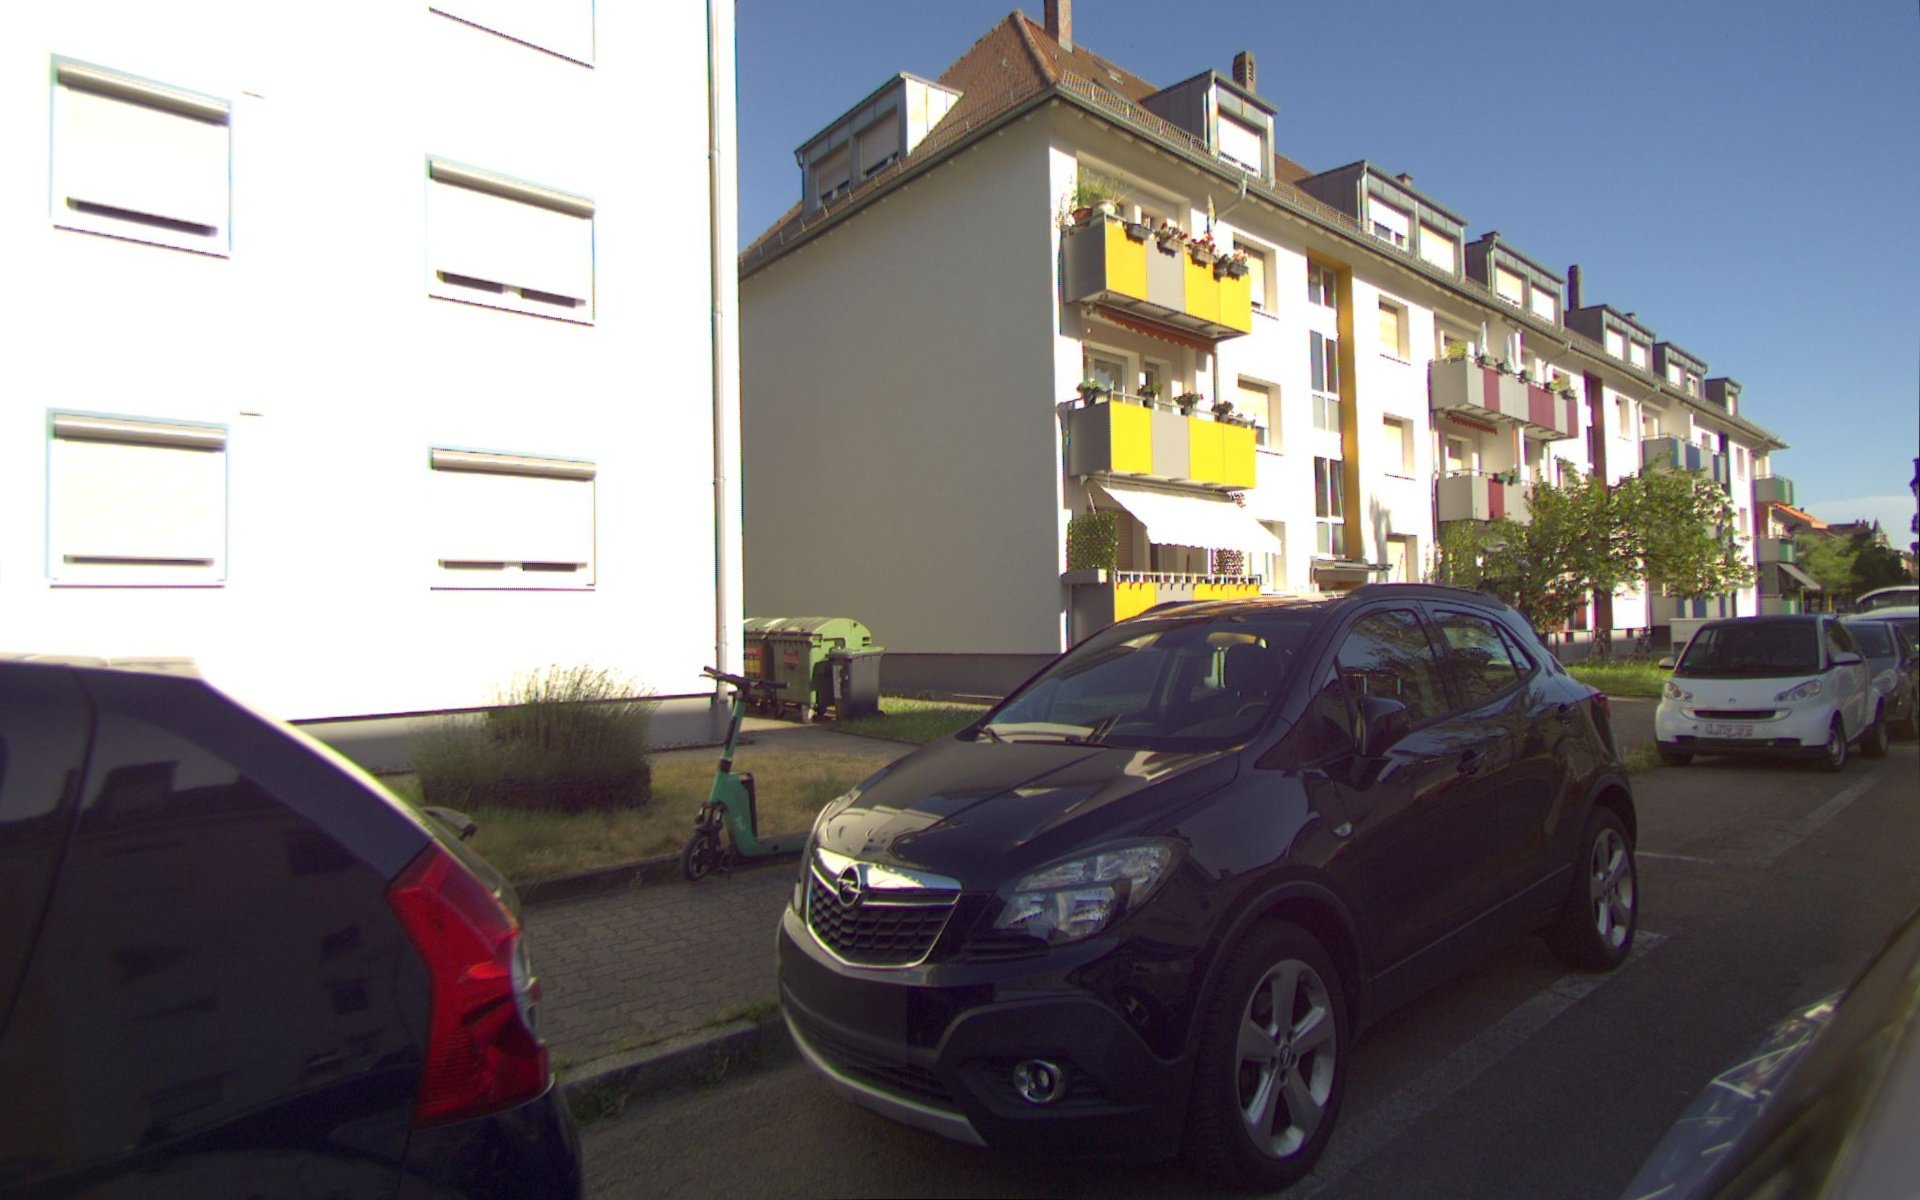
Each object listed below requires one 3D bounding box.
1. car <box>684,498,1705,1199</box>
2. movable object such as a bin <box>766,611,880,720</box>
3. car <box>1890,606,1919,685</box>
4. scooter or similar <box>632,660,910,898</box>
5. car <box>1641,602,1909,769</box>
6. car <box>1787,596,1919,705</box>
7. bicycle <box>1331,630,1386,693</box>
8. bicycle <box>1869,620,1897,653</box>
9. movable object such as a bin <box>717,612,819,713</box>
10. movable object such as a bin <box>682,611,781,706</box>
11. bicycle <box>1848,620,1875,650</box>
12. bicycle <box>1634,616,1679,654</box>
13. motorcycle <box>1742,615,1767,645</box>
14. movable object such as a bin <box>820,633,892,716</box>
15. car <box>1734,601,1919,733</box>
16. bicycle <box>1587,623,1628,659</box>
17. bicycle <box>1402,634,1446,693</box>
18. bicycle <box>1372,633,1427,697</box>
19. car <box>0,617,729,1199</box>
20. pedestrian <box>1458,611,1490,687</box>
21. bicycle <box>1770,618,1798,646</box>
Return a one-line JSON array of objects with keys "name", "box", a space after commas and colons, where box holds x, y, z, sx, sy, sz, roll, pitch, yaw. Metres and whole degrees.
[{"name": "car", "box": [1.306, 0.680, 4.181, 4.388, 1.670, 1.786, 1, -3, -40]}, {"name": "movable object such as a bin", "box": [-2.001, 0.908, 14.677, 1.087, 1.424, 1.330, -2, 1, -40]}, {"name": "car", "box": [20.496, 0.878, 20.699, 4.404, 1.524, 1.773, 1, -3, -43]}, {"name": "scooter or similar", "box": [-1.077, 0.981, 5.998, 1.560, 1.163, 0.485, 1, 1, -40]}, {"name": "car", "box": [8.765, 0.838, 10.844, 2.886, 1.549, 1.483, 0, -4, -37]}, {"name": "car", "box": [15.882, 0.798, 17.027, 4.904, 1.634, 1.997, 1, -3, -39]}, {"name": "bicycle", "box": [7.571, 1.154, 19.204, 1.250, 1.147, 0.404, 1, -2, -40]}, {"name": "bicycle", "box": [35.032, 1.360, 38.408, 1.839, 1.185, 0.545, 1, 0, -40]}, {"name": "movable object such as a bin", "box": [-3.003, 0.931, 15.782, 1.037, 1.429, 1.346, -2, 1, -40]}, {"name": "movable object such as a bin", "box": [-3.858, 0.943, 17.035, 1.123, 1.443, 1.346, -2, 1, -40]}, {"name": "bicycle", "box": [35.131, 1.345, 39.436, 1.840, 1.147, 0.578, 1, 0, -42]}, {"name": "bicycle", "box": [20.687, 1.025, 30.053, 2.247, 1.062, 0.521, 1, 0, -40]}, {"name": "motorcycle", "box": [33.136, 1.237, 42.205, 1.942, 1.254, 0.442, 1, -1, -41]}, {"name": "movable object such as a bin", "box": [-1.426, 0.998, 13.853, 0.744, 1.047, 0.644, -2, 1, -40]}, {"name": "car", "box": [11.940, 0.833, 13.587, 3.915, 1.511, 1.695, 1, -4, -42]}, {"name": "bicycle", "box": [19.937, 1.256, 31.150, 1.940, 1.050, 0.521, 1, -1, -40]}, {"name": "bicycle", "box": [8.677, 1.182, 18.933, 0.234, 1.060, 0.742, 1, -1, -38]}, {"name": "bicycle", "box": [7.985, 1.155, 18.369, 1.276, 1.100, 0.404, 1, -1, -40]}, {"name": "car", "box": [-2.429, 0.781, 0.839, 4.082, 1.518, 1.645, 1, -2, -40]}, {"name": "pedestrian", "box": [10.399, 0.986, 20.478, 0.353, 1.514, 0.451, -1, 0, -39]}, {"name": "bicycle", "box": [33.643, 1.289, 41.321, 1.840, 1.130, 0.597, 1, -1, -42]}]
